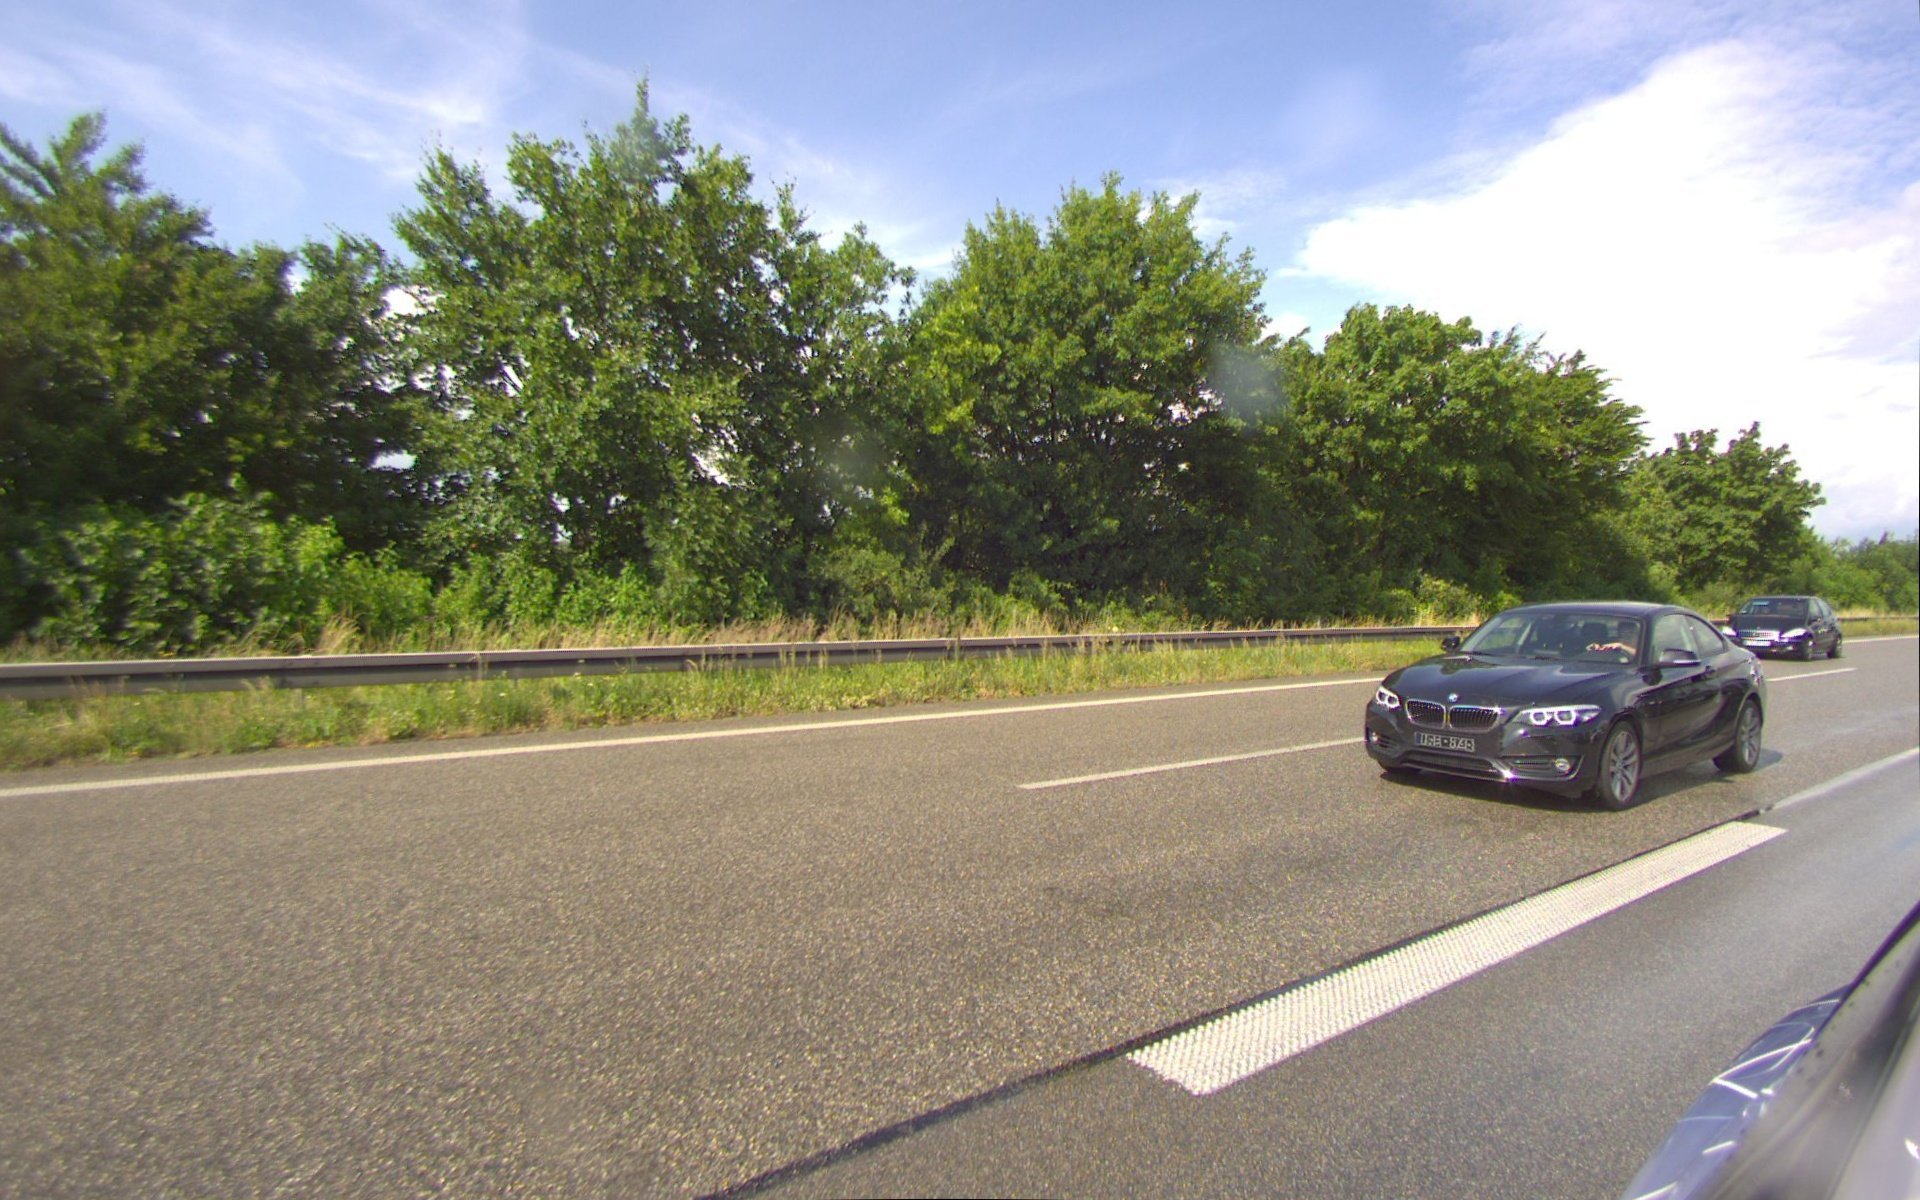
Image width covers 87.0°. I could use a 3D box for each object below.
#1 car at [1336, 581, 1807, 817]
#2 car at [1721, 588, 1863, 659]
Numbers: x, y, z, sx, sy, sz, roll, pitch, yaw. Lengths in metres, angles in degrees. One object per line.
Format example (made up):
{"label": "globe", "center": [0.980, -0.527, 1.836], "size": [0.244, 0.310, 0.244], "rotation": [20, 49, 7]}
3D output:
{"label": "car", "center": [5.198, 0.603, 8.433], "size": [4.175, 1.482, 1.855], "rotation": [0, 2, -36]}
{"label": "car", "center": [20.675, 0.517, 25.110], "size": [3.926, 1.588, 1.854], "rotation": [-1, 2, -38]}
